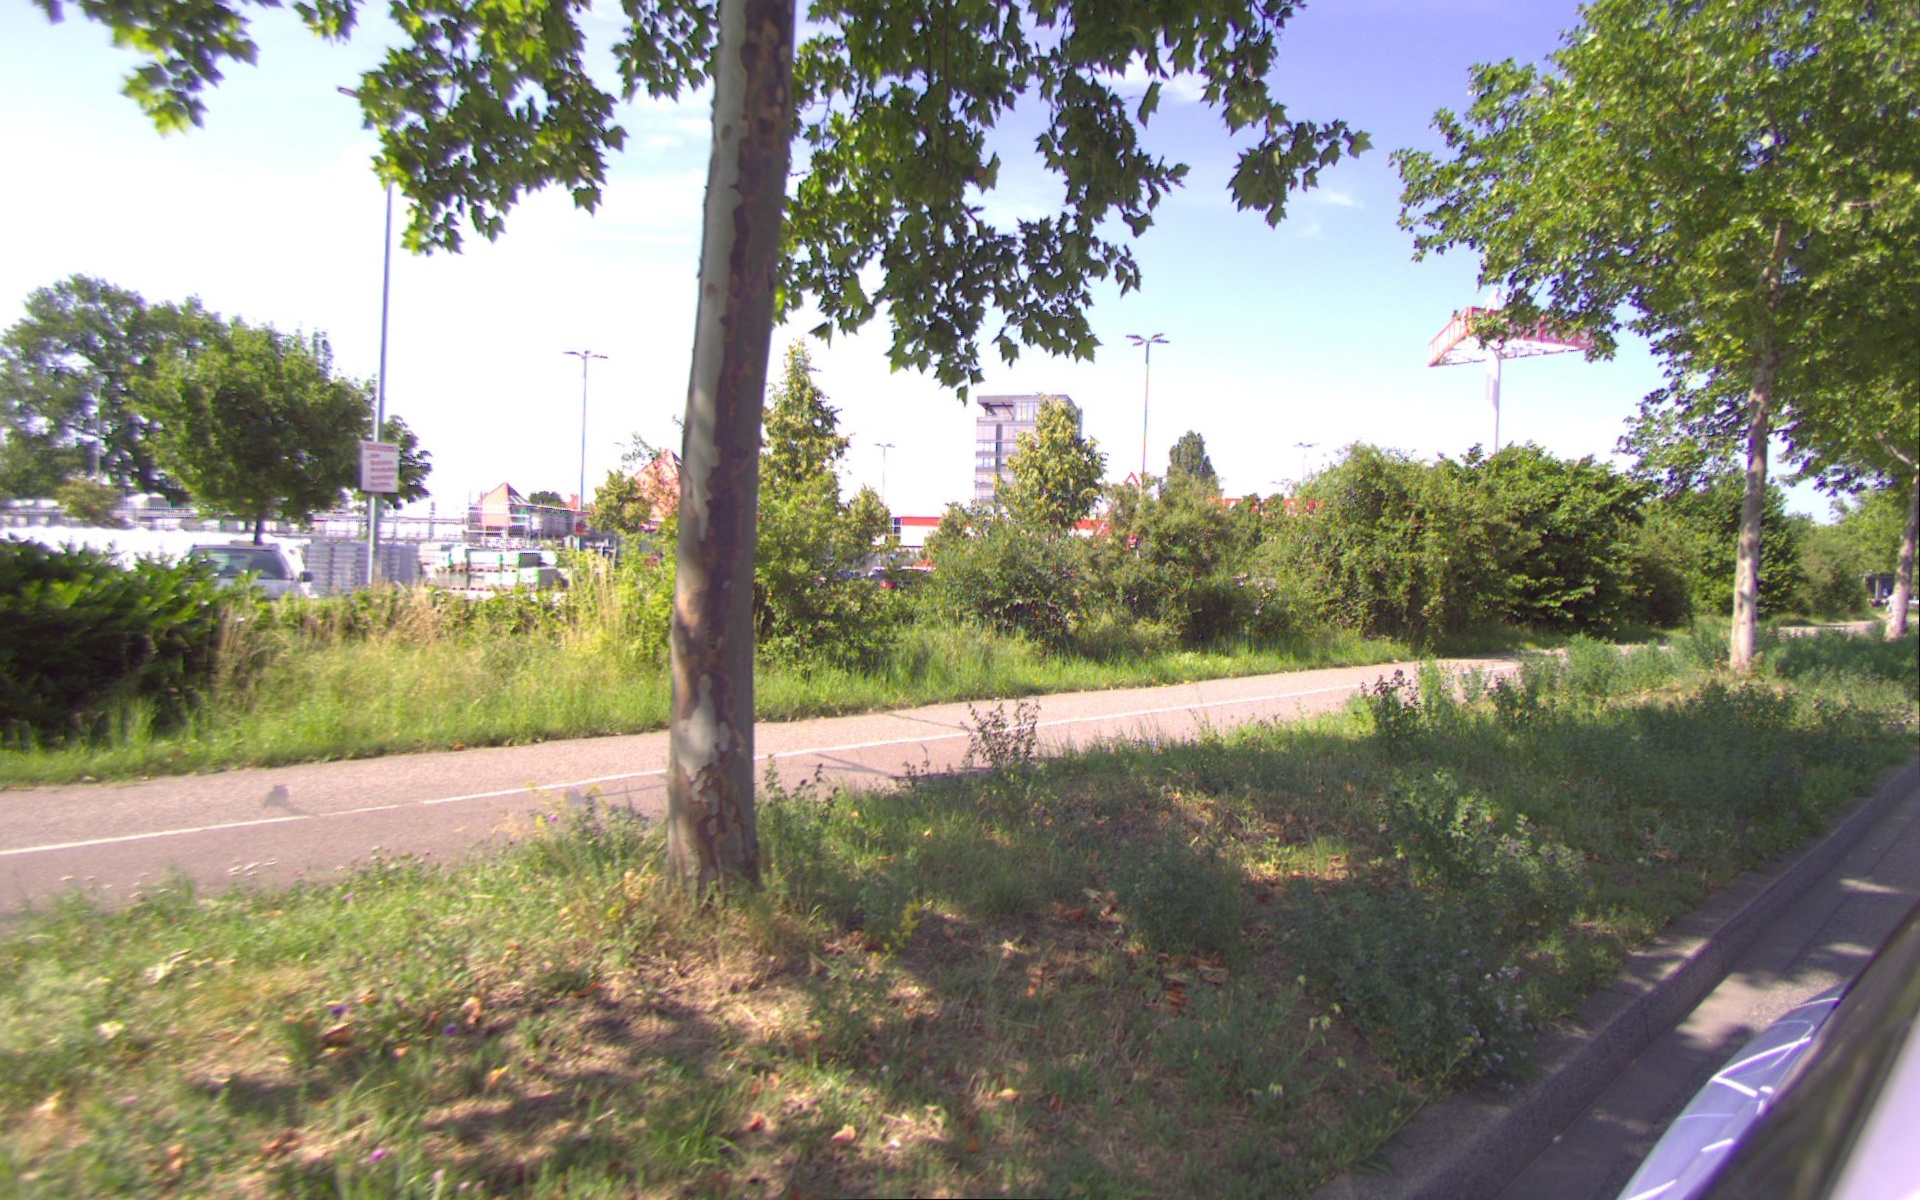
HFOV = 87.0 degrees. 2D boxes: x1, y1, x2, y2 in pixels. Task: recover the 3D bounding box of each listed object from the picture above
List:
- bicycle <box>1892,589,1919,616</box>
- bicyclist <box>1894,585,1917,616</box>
[{"bbox_3d":[46.801,0.119,50.082,2.058,1.315,0.724,-1,1,-40],"label":"bicycle"},{"bbox_3d":[46.794,0.031,50.099,0.992,1.495,0.705,0,1,-40],"label":"bicyclist"}]
